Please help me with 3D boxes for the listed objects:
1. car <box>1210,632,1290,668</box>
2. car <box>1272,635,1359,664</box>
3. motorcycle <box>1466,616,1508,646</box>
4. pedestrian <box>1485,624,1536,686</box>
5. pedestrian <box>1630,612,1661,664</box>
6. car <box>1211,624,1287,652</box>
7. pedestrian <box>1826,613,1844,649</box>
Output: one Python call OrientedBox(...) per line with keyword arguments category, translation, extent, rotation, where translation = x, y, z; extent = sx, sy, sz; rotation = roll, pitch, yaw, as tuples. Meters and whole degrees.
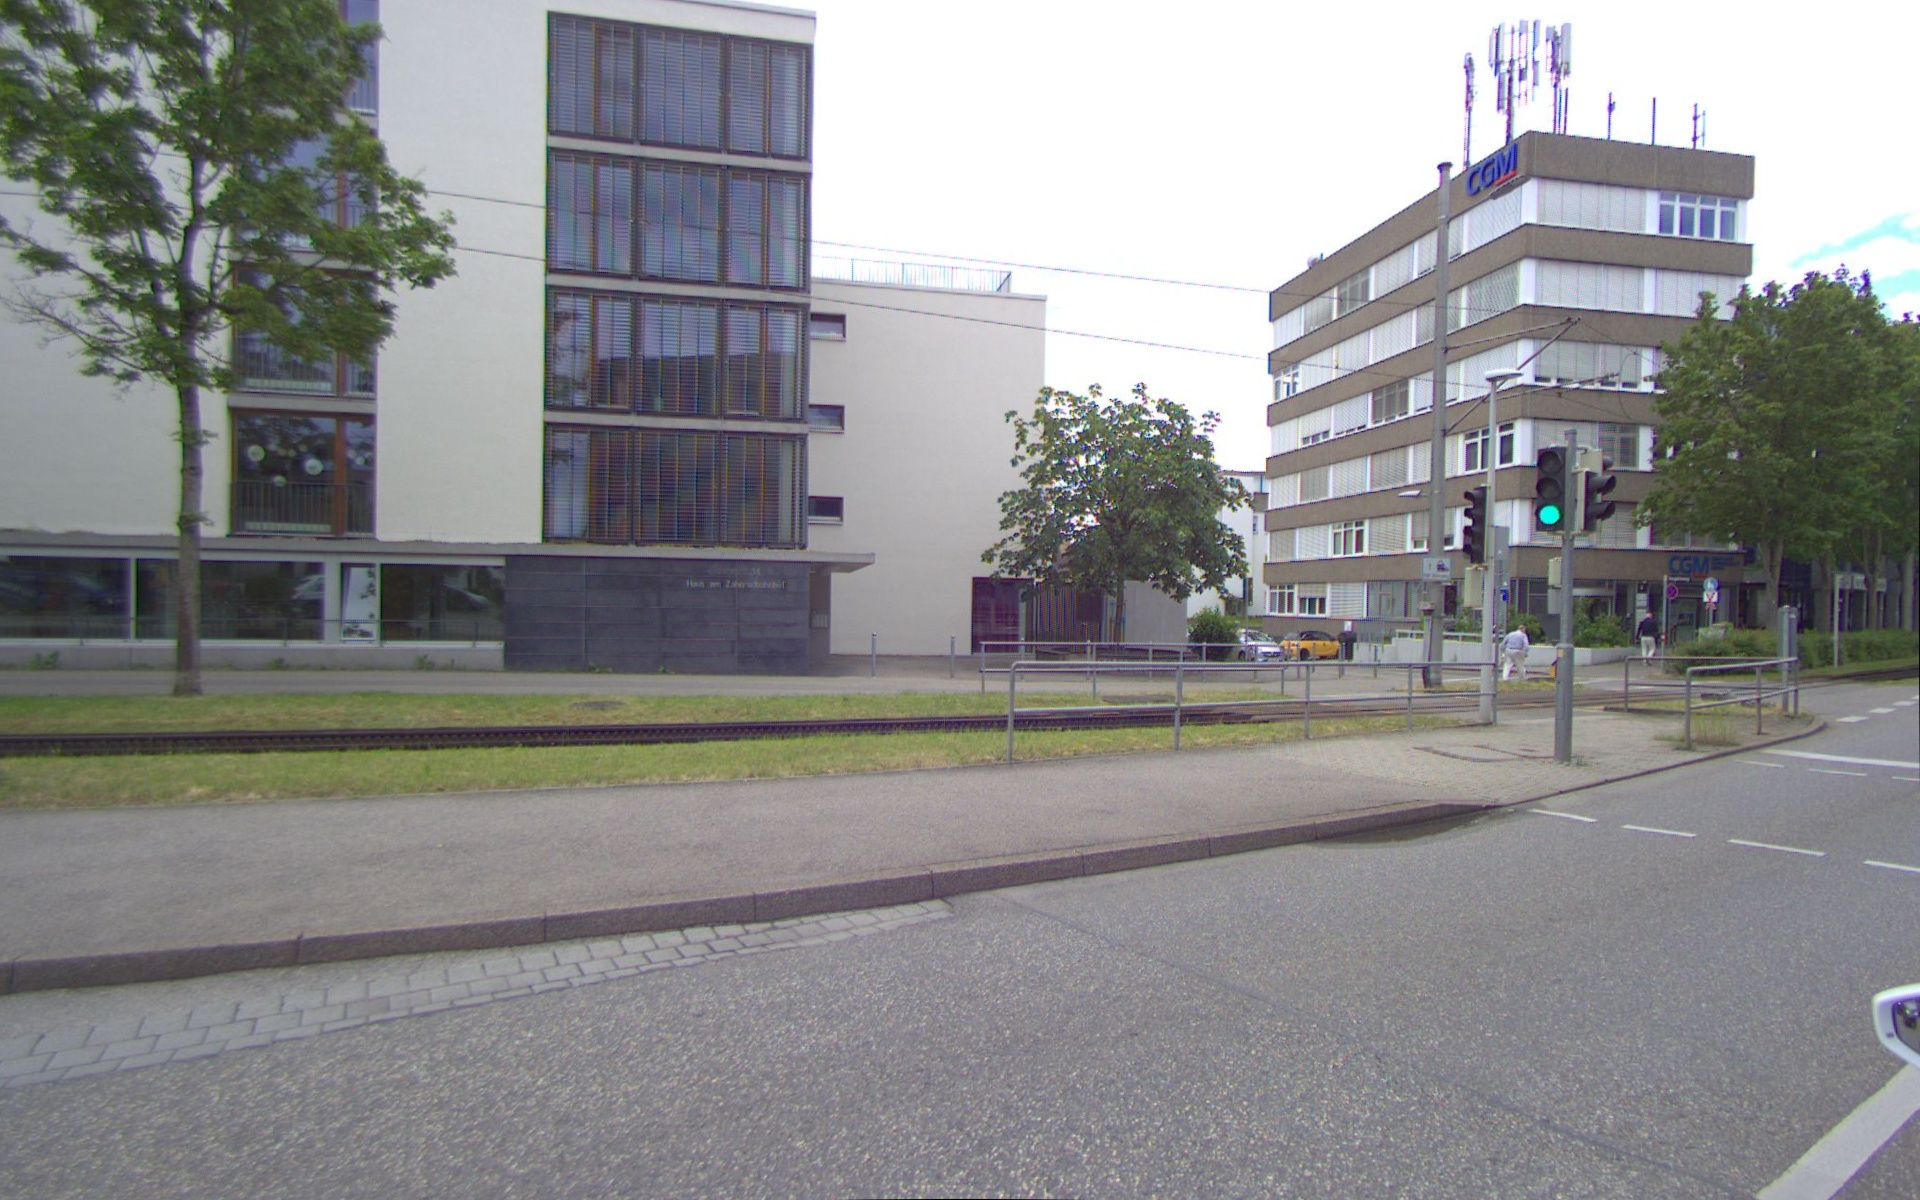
OrientedBox(category="car", translation=(11.688, 2.002, 40.726), extent=(1.612, 1.377, 3.995), rotation=(1, -2, -9))
OrientedBox(category="car", translation=(18.257, 2.519, 51.607), extent=(3.934, 1.443, 1.725), rotation=(1, -2, -16))
OrientedBox(category="motorcycle", translation=(22.770, 1.323, 43.429), extent=(0.558, 1.215, 1.881), rotation=(1, 0, -12))
OrientedBox(category="pedestrian", translation=(14.258, 1.408, 26.011), extent=(0.987, 1.547, 0.841), rotation=(1, -1, -38))
OrientedBox(category="pedestrian", translation=(23.500, 1.299, 34.450), extent=(0.675, 1.728, 0.683), rotation=(1, -1, -34))
OrientedBox(category="car", translation=(17.062, 2.276, 59.321), extent=(3.934, 1.595, 1.849), rotation=(1, -2, -16))
OrientedBox(category="pedestrian", translation=(50.064, 1.760, 57.450), extent=(0.565, 2.040, 0.676), rotation=(1, 0, -36))
